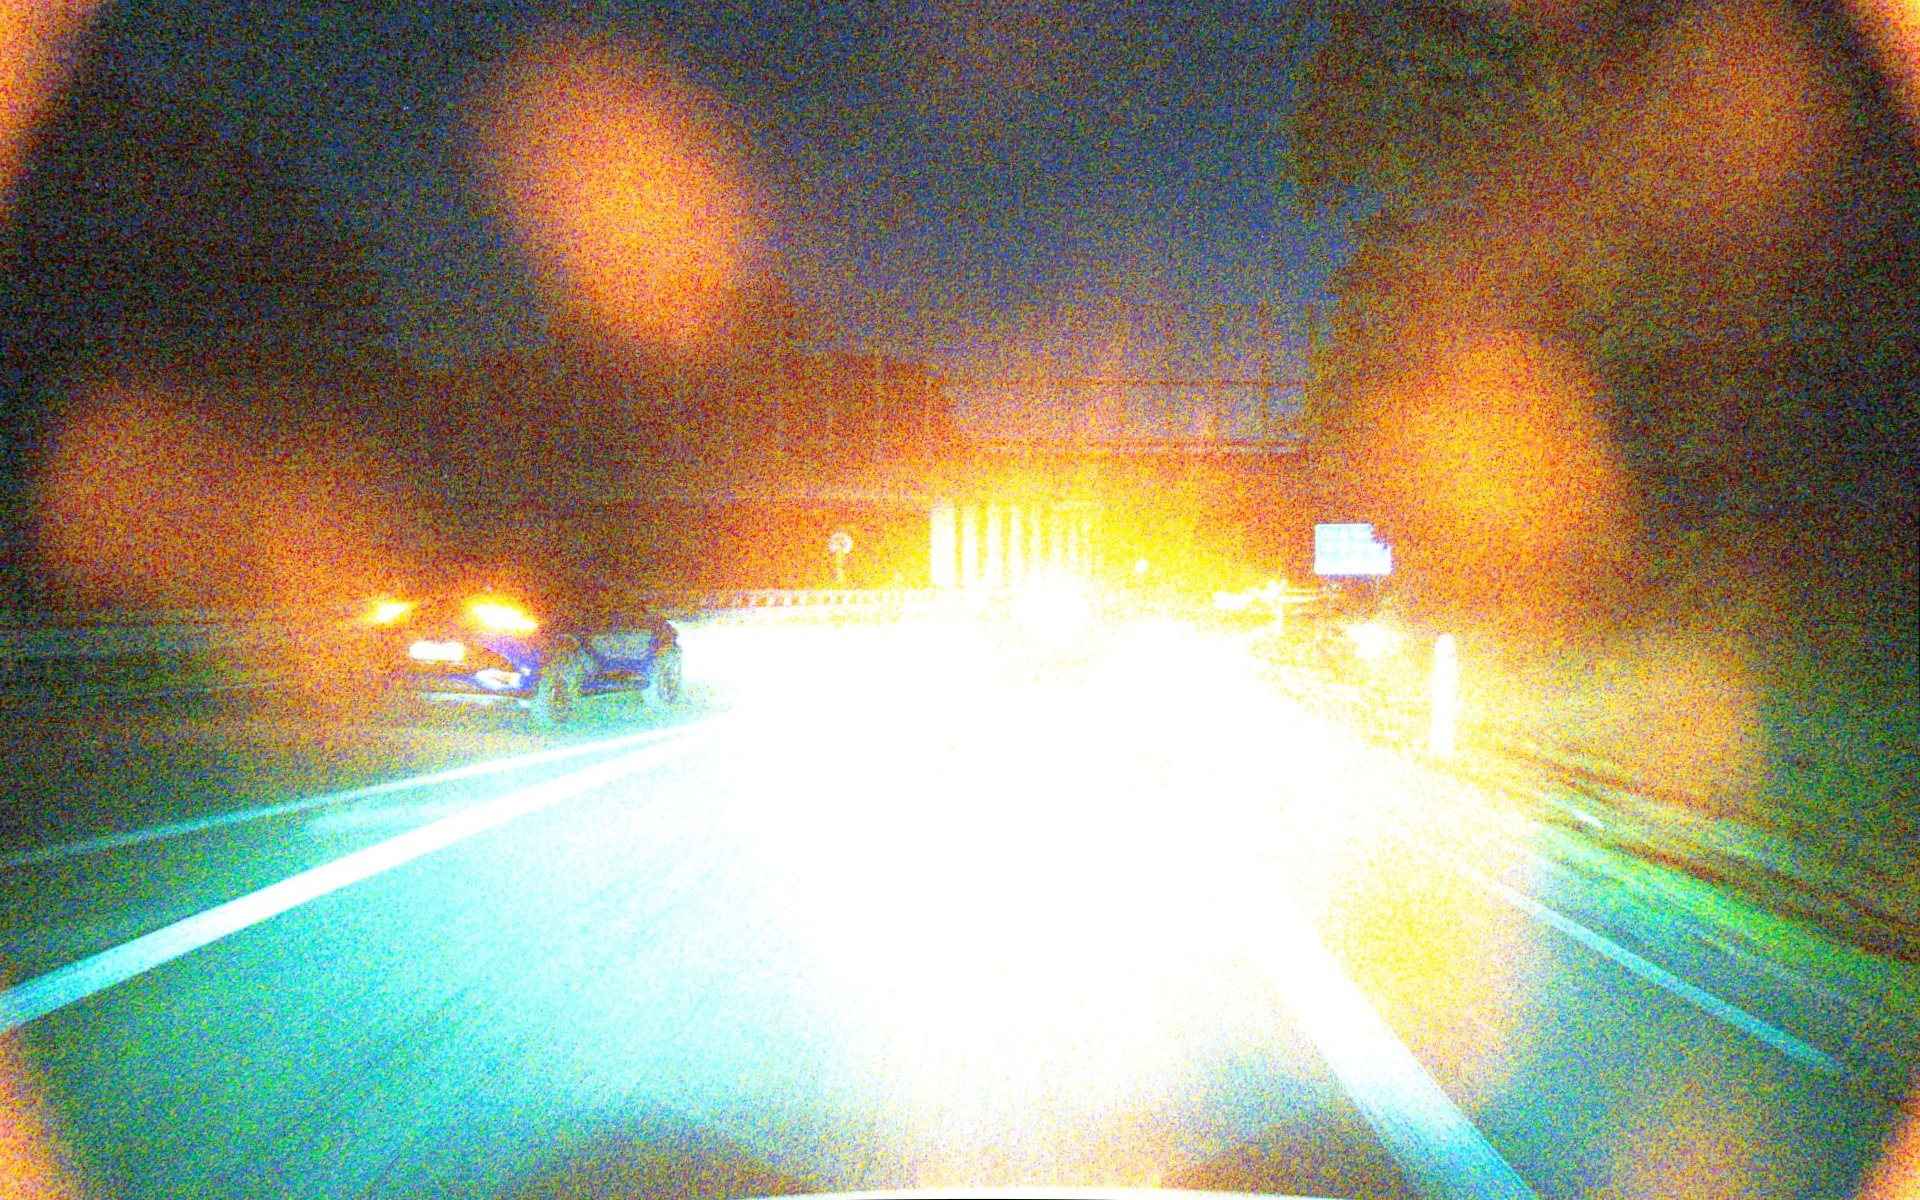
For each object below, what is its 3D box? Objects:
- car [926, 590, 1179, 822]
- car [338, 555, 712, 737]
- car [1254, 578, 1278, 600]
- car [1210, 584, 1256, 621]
[{"bbox_3d":[0.595,0.713,13.335,1.657,1.503,3.999,3,0,-2],"label":"car"},{"bbox_3d":[-4.480,0.431,17.912,1.899,1.636,4.647,2,0,13],"label":"car"},{"bbox_3d":[23.461,-0.841,126.745,1.696,1.646,3.802,1,1,12],"label":"car"},{"bbox_3d":[13.212,0.147,79.815,1.910,1.565,4.244,-3,-2,12],"label":"car"}]
